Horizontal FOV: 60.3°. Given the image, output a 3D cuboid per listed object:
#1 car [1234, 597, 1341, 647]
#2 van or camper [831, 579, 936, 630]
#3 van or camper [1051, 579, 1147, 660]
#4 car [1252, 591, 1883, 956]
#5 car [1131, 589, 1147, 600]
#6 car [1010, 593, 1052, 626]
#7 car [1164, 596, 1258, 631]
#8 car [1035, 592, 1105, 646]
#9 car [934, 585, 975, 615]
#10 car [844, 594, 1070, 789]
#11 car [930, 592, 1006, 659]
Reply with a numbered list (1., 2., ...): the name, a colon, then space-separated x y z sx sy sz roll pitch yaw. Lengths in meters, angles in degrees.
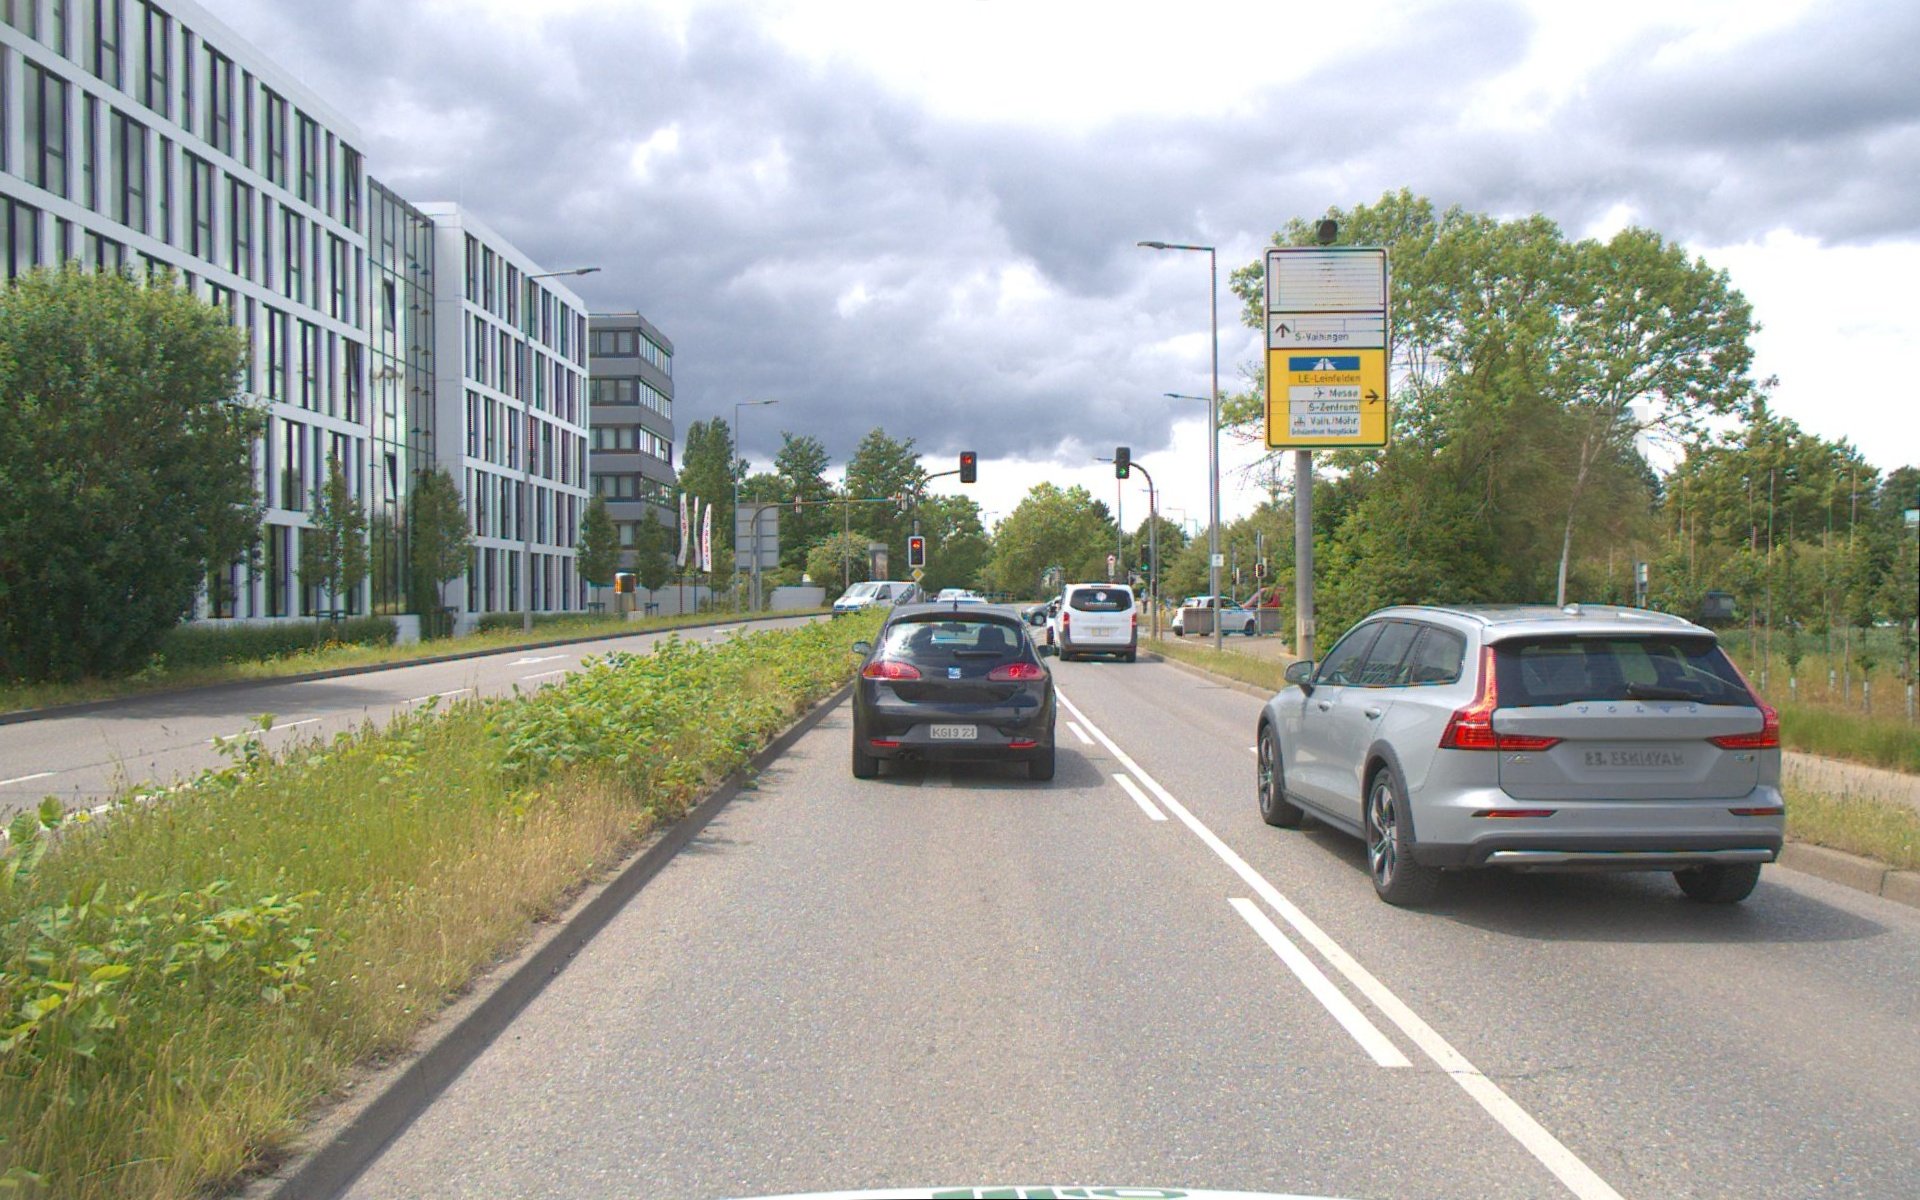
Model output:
1. car: 16.350 1.086 82.749 5.113 2.454 2.001 0 0 6
2. van or camper: -3.138 0.193 69.006 1.958 2.049 4.801 0 0 34
3. van or camper: 3.410 0.450 41.370 1.953 1.892 4.943 0 0 0
4. car: 3.023 0.734 9.366 1.825 1.545 4.445 -1 0 -2
5. car: 24.446 -0.768 225.388 1.951 1.375 4.003 1 0 9
6. car: 3.632 0.477 84.021 1.951 1.624 4.002 0 0 4
7. car: 9.997 0.522 65.981 3.322 1.369 1.683 0 0 -14
8. car: 3.550 0.595 53.886 1.953 1.660 3.999 0 0 -1
9. car: -0.279 -0.022 90.429 1.951 1.624 4.002 0 0 4
10. car: 0.018 0.711 14.728 1.736 1.477 3.583 1 0 1
11. car: 0.157 0.584 40.044 1.737 1.517 3.581 -1 0 -1
